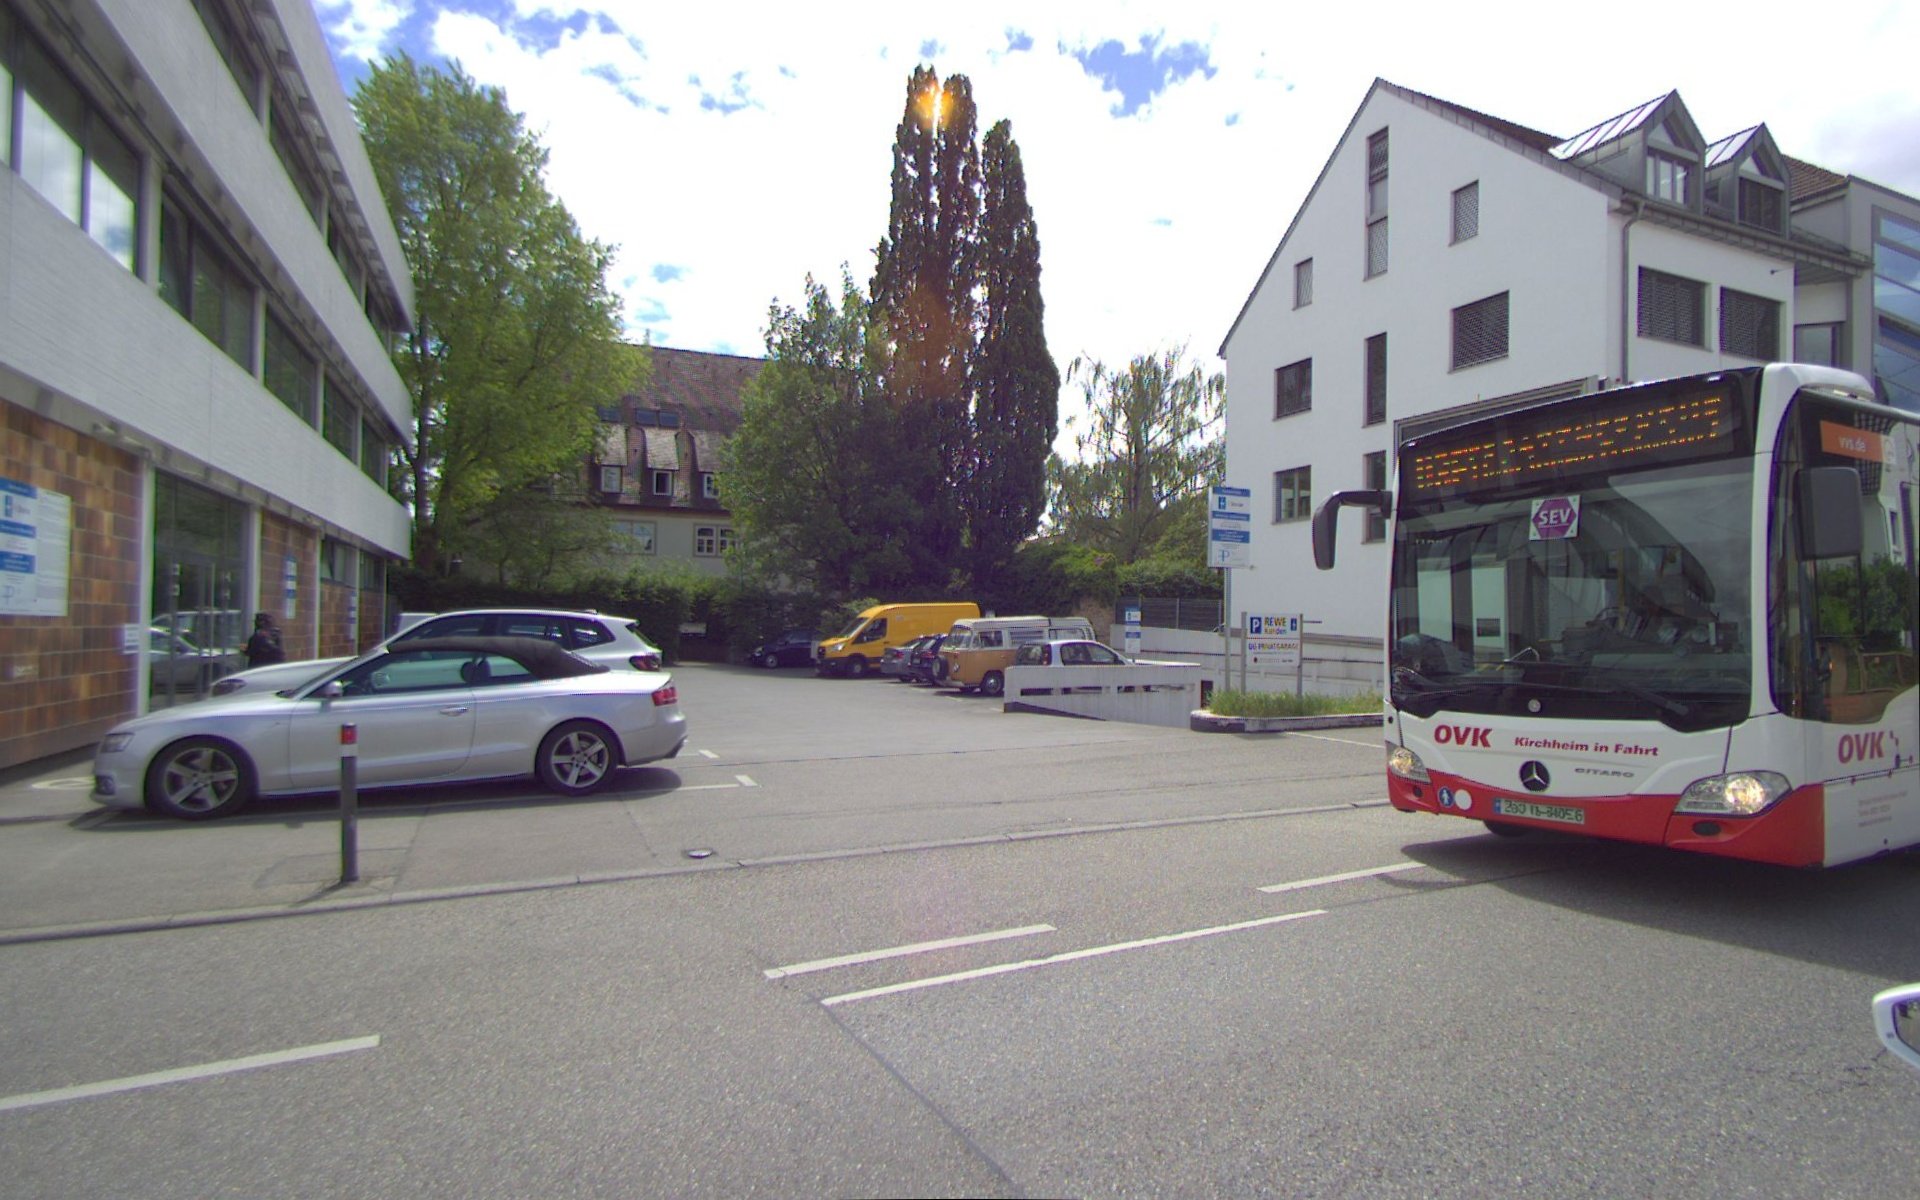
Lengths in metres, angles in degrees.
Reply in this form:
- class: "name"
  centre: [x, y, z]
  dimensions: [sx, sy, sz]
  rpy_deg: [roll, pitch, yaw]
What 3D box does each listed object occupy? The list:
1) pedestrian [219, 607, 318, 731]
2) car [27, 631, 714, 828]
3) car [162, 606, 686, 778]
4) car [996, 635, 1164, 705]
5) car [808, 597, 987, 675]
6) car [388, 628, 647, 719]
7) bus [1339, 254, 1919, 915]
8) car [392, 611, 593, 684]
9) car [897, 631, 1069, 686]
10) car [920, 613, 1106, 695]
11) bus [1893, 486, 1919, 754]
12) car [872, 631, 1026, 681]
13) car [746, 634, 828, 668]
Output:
- class: "pedestrian"
  centre: [-9.789, 0.963, 14.262]
  dimensions: [0.981, 1.693, 0.716]
  rpy_deg: [1, -3, -23]
- class: "car"
  centre: [-4.800, 0.980, 8.997]
  dimensions: [4.789, 1.376, 1.946]
  rpy_deg: [1, -2, -25]
- class: "car"
  centre: [-5.736, 0.962, 11.460]
  dimensions: [4.857, 1.640, 1.948]
  rpy_deg: [0, -4, -22]
- class: "car"
  centre: [2.900, 1.624, 24.183]
  dimensions: [3.714, 1.549, 1.803]
  rpy_deg: [1, -2, -31]
- class: "car"
  centre: [-2.151, 1.282, 34.999]
  dimensions: [5.897, 2.563, 2.056]
  rpy_deg: [1, -3, -26]
- class: "car"
  centre: [-8.544, 1.362, 19.657]
  dimensions: [4.435, 1.599, 1.916]
  rpy_deg: [1, -2, -25]
- class: "bus"
  centre: [7.728, 0.045, 8.547]
  dimensions: [10.063, 3.205, 2.670]
  rpy_deg: [1, -2, -30]
- class: "car"
  centre: [-13.237, 1.329, 28.784]
  dimensions: [5.015, 1.967, 1.964]
  rpy_deg: [1, -1, -23]
- class: "car"
  centre: [0.667, 1.649, 28.864]
  dimensions: [4.616, 1.457, 1.807]
  rpy_deg: [1, -2, -24]
- class: "car"
  centre: [1.402, 1.380, 26.430]
  dimensions: [4.585, 2.015, 1.833]
  rpy_deg: [1, -1, -25]
- class: "bus"
  centre: [15.498, 0.285, 12.916]
  dimensions: [7.968, 3.205, 2.705]
  rpy_deg: [1, -2, -28]
- class: "car"
  centre: [-0.329, 1.707, 31.024]
  dimensions: [4.444, 1.457, 1.808]
  rpy_deg: [1, -3, -24]
- class: "car"
  centre: [-6.898, 2.008, 39.944]
  dimensions: [2.993, 1.200, 1.413]
  rpy_deg: [1, 1, -22]
